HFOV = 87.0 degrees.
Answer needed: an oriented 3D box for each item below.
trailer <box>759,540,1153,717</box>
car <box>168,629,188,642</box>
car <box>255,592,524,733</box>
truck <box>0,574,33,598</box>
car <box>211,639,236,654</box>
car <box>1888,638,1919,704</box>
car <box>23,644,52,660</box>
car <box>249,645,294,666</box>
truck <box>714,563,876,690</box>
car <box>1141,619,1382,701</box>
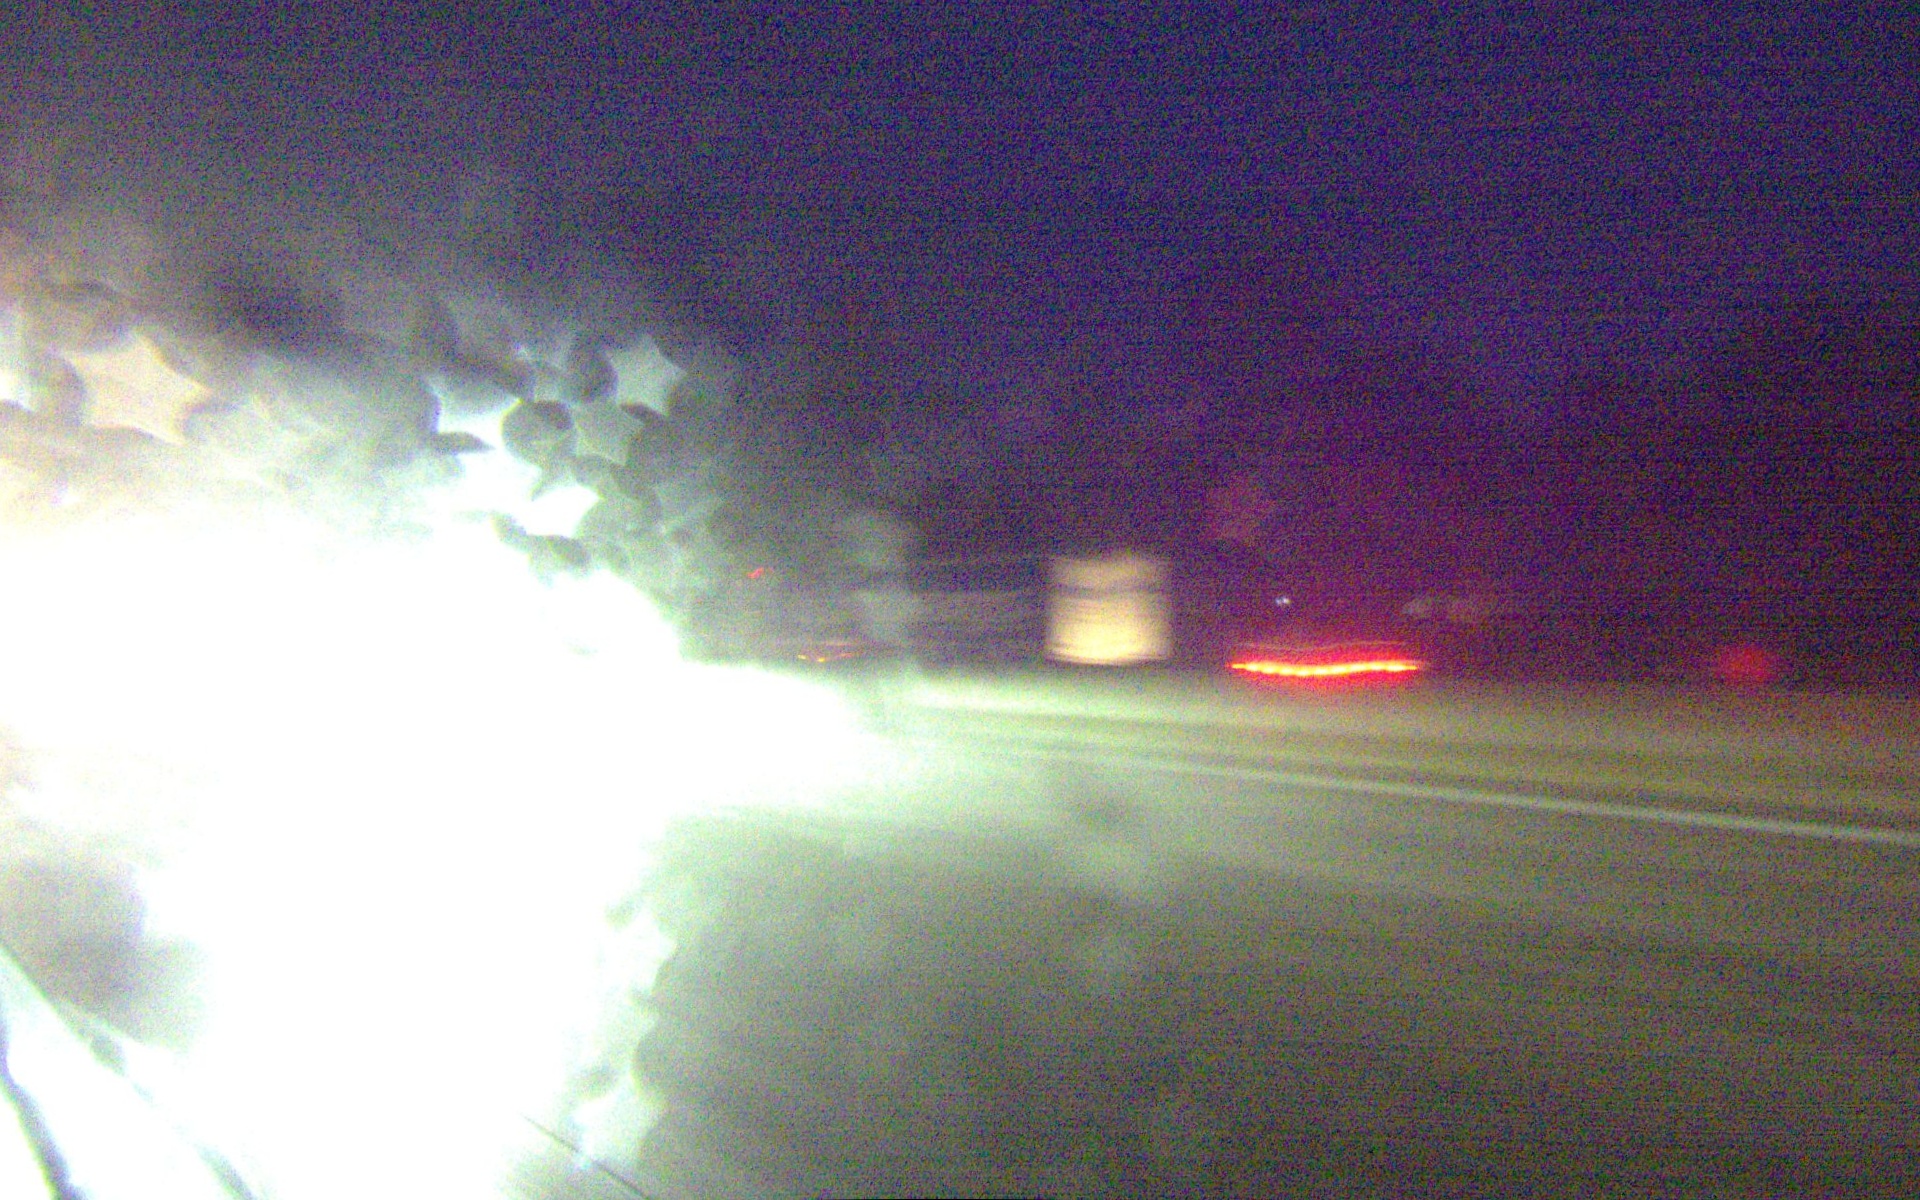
[{"bbox_3d":[-0.801,0.772,31.719,13.907,4.578,2.522,0,-3,40],"label":"trailer"},{"bbox_3d":[-111.590,5.027,144.448,1.751,1.644,4.004,5,-3,-43],"label":"car"},{"bbox_3d":[-9.350,0.895,16.325,5.555,1.899,2.113,0,-3,43],"label":"car"},{"bbox_3d":[-162.852,-2.385,172.764,11.165,3.808,2.398,1,-3,24],"label":"truck"},{"bbox_3d":[-82.919,5.194,113.914,1.751,1.644,4.004,5,-5,-43],"label":"car"},{"bbox_3d":[20.834,1.472,19.944,3.700,1.309,1.597,0,-3,41],"label":"car"},{"bbox_3d":[-78.445,4.398,86.064,1.687,1.304,3.994,3,-5,-44],"label":"car"},{"bbox_3d":[-47.407,3.811,69.651,3.760,1.246,1.644,0,-3,42],"label":"car"},{"bbox_3d":[-5.953,0.921,36.092,5.638,4.187,2.511,0,-3,40],"label":"truck"},{"bbox_3d":[5.577,1.083,18.989,3.998,1.309,1.649,0,-3,41],"label":"car"}]
